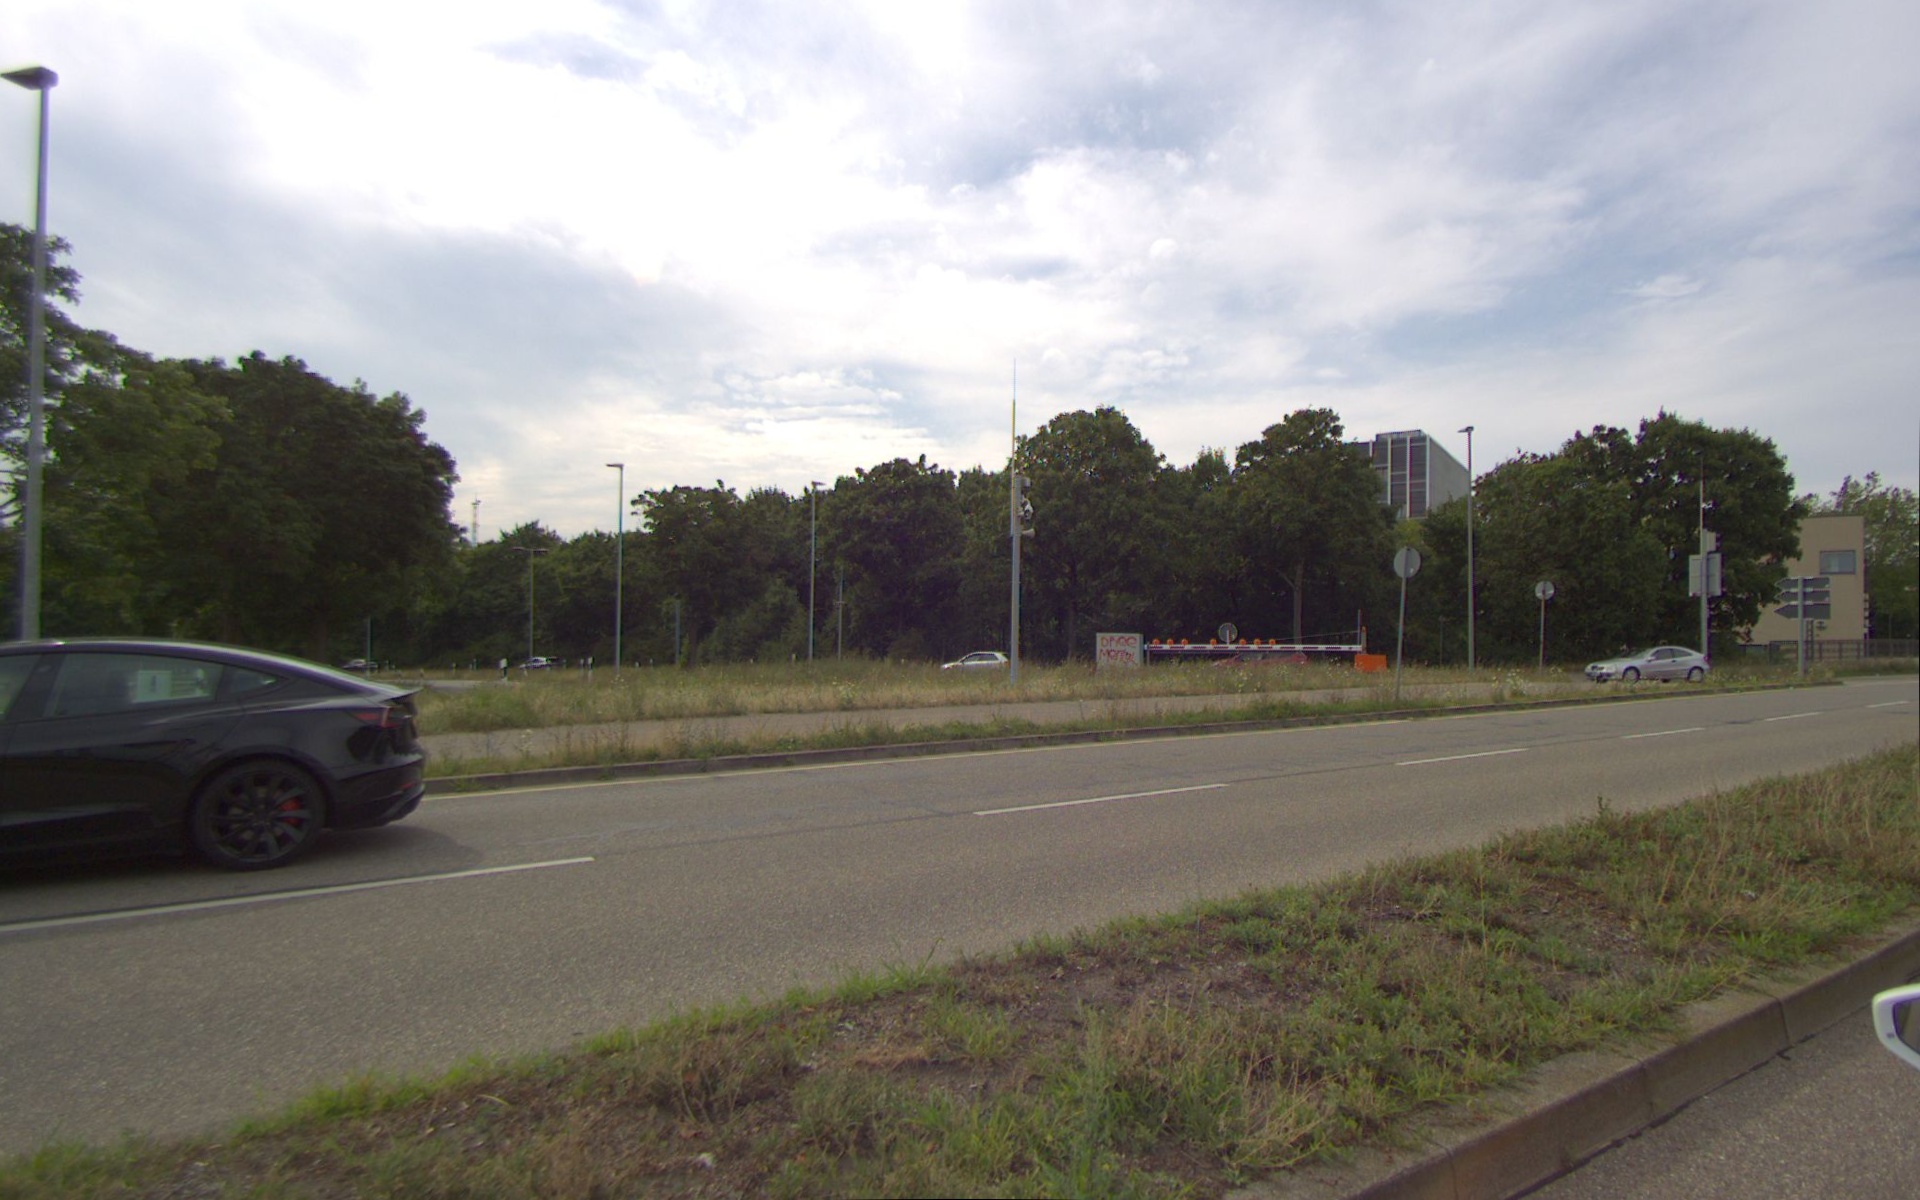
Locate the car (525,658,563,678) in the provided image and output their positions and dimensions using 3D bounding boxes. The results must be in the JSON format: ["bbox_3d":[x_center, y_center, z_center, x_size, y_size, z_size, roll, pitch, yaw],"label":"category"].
[{"bbox_3d":[-32.782,5.335,79.101,1.563,1.414,3.831,1,-3,-43],"label":"car"}]

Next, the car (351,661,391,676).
[{"bbox_3d":[-56.933,6.599,97.068,3.810,1.414,1.571,-1,-2,30],"label":"car"}]

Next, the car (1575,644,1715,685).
[{"bbox_3d":[25.865,2.421,37.983,4.379,1.465,1.749,0,-2,-9],"label":"car"}]

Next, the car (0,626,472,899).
[{"bbox_3d":[-5.643,0.917,6.289,4.514,1.495,1.736,1,-2,-32],"label":"car"}]

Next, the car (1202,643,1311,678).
[{"bbox_3d":[11.868,2.413,40.371,4.094,1.386,1.518,-1,-2,13],"label":"car"}]

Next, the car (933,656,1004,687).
[{"bbox_3d":[0.377,3.158,44.768,2.954,1.290,1.271,-1,-2,28],"label":"car"}]
